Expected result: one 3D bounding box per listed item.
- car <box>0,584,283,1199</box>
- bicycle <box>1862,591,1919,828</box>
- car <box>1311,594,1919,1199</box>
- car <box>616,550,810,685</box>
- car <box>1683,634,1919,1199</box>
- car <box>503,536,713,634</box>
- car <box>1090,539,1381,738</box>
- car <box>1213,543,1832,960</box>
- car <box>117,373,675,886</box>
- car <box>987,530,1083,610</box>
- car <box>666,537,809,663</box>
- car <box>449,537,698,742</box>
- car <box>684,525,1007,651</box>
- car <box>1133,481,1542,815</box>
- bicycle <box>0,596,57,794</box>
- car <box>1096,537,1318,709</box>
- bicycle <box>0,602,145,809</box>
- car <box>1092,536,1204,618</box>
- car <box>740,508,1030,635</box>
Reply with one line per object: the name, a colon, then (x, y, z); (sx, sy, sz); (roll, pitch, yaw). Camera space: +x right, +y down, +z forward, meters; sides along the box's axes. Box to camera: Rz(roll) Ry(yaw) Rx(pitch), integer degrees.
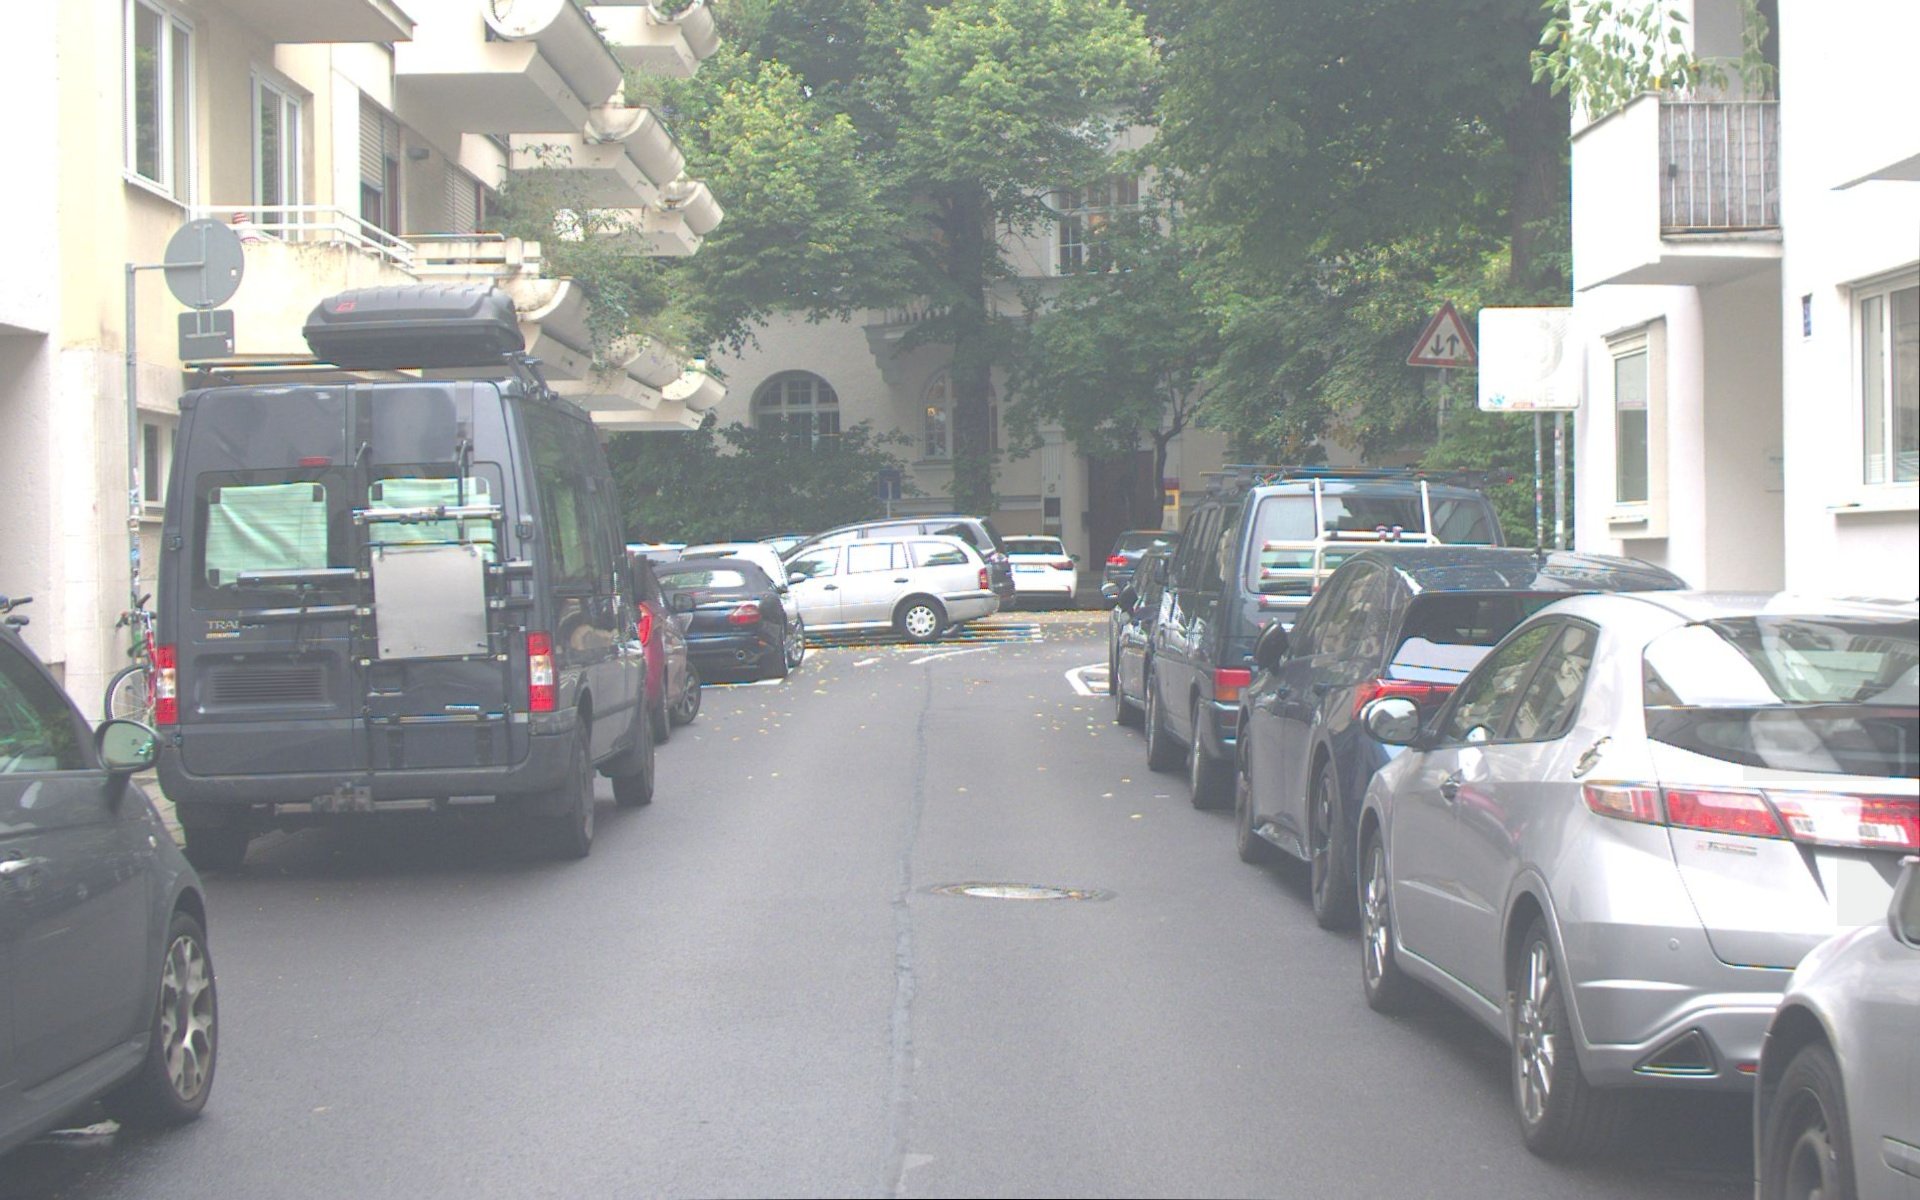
car: (-2.860, 0.737, 8.229); (1.611, 1.441, 3.743); (-3, 1, 1)
bicycle: (4.990, 0.540, 17.154); (0.570, 1.147, 1.431); (0, 1, -1)
car: (2.248, 0.754, 10.156); (1.759, 1.426, 4.262); (2, 1, -2)
car: (-2.620, 0.140, 37.432); (1.797, 1.273, 4.617); (-2, 1, -1)
car: (2.453, 0.806, 5.089); (1.734, 1.424, 4.203); (-1, 1, -2)
car: (-5.977, -0.277, 58.314); (3.287, 1.625, 1.510); (0, 1, -19)
car: (2.070, 0.242, 26.887); (1.833, 1.414, 4.059); (-1, 1, -1)
car: (2.287, 0.539, 15.239); (1.905, 1.548, 4.625); (-1, 1, -1)
car: (-2.804, 0.102, 18.426); (2.018, 2.271, 5.391); (-2, 1, 0)
car: (1.417, -0.572, 63.781); (1.718, 1.426, 4.000); (0, 1, 2)
car: (-2.714, -0.032, 42.576); (1.560, 1.416, 3.834); (-2, 1, -1)
car: (-2.991, 0.259, 27.238); (1.619, 1.491, 3.709); (-1, 1, -1)
car: (-1.532, -0.181, 46.550); (4.227, 1.450, 1.721); (-3, 1, -1)
car: (2.159, 0.226, 20.932); (1.874, 1.785, 4.782); (-1, 1, -1)
bicycle: (-5.619, 0.537, 19.526); (0.463, 1.094, 1.870); (0, 1, 1)
car: (2.183, 0.159, 31.262); (1.743, 1.436, 4.000); (-1, 1, 1)
bicycle: (-5.119, 0.575, 19.611); (0.463, 1.094, 1.870); (0, 1, 1)
car: (3.462, -0.444, 62.695); (1.792, 1.426, 3.999); (0, 1, 7)
car: (-1.138, -0.444, 51.798); (4.219, 1.678, 1.903); (-3, 1, -2)
